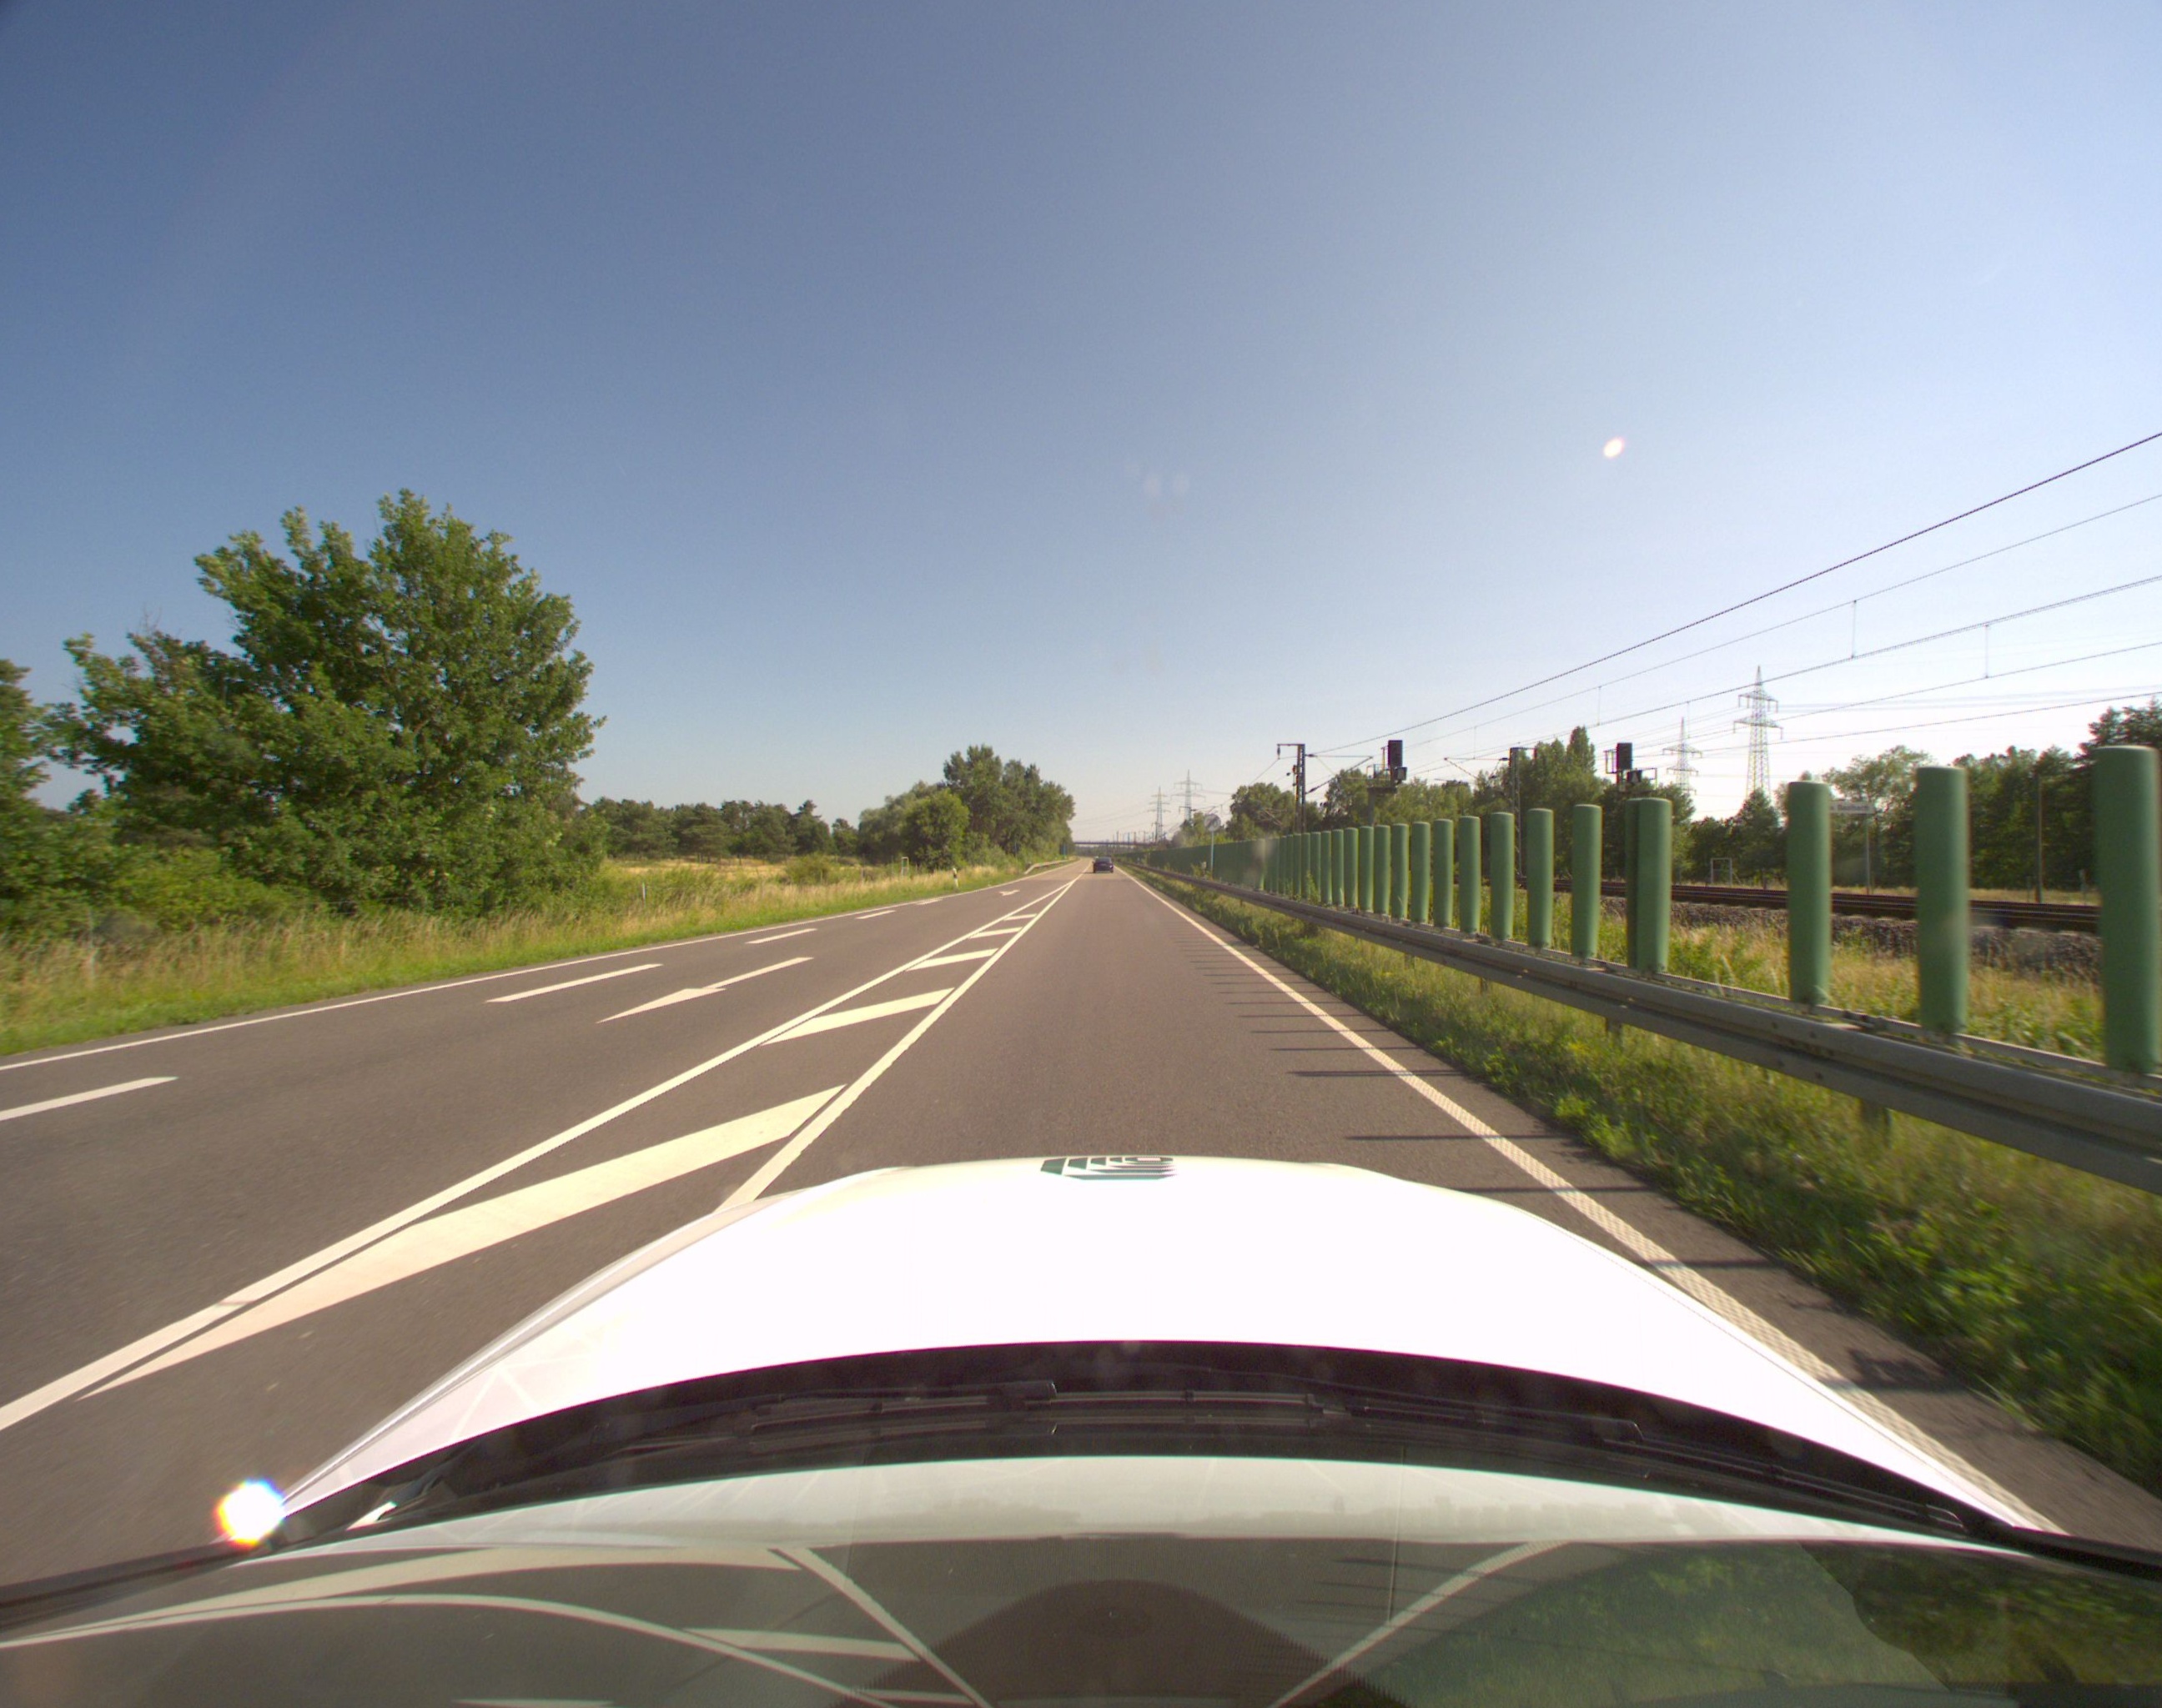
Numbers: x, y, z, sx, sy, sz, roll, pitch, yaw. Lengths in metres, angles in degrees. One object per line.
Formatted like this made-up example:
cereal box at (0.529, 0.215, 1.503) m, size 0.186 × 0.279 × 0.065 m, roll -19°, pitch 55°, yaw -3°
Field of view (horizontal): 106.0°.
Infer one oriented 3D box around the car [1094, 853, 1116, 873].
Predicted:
car at (2.149, 0.787, 73.836) m, size 1.852 × 1.642 × 4.001 m, roll -2°, pitch 0°, yaw 1°
